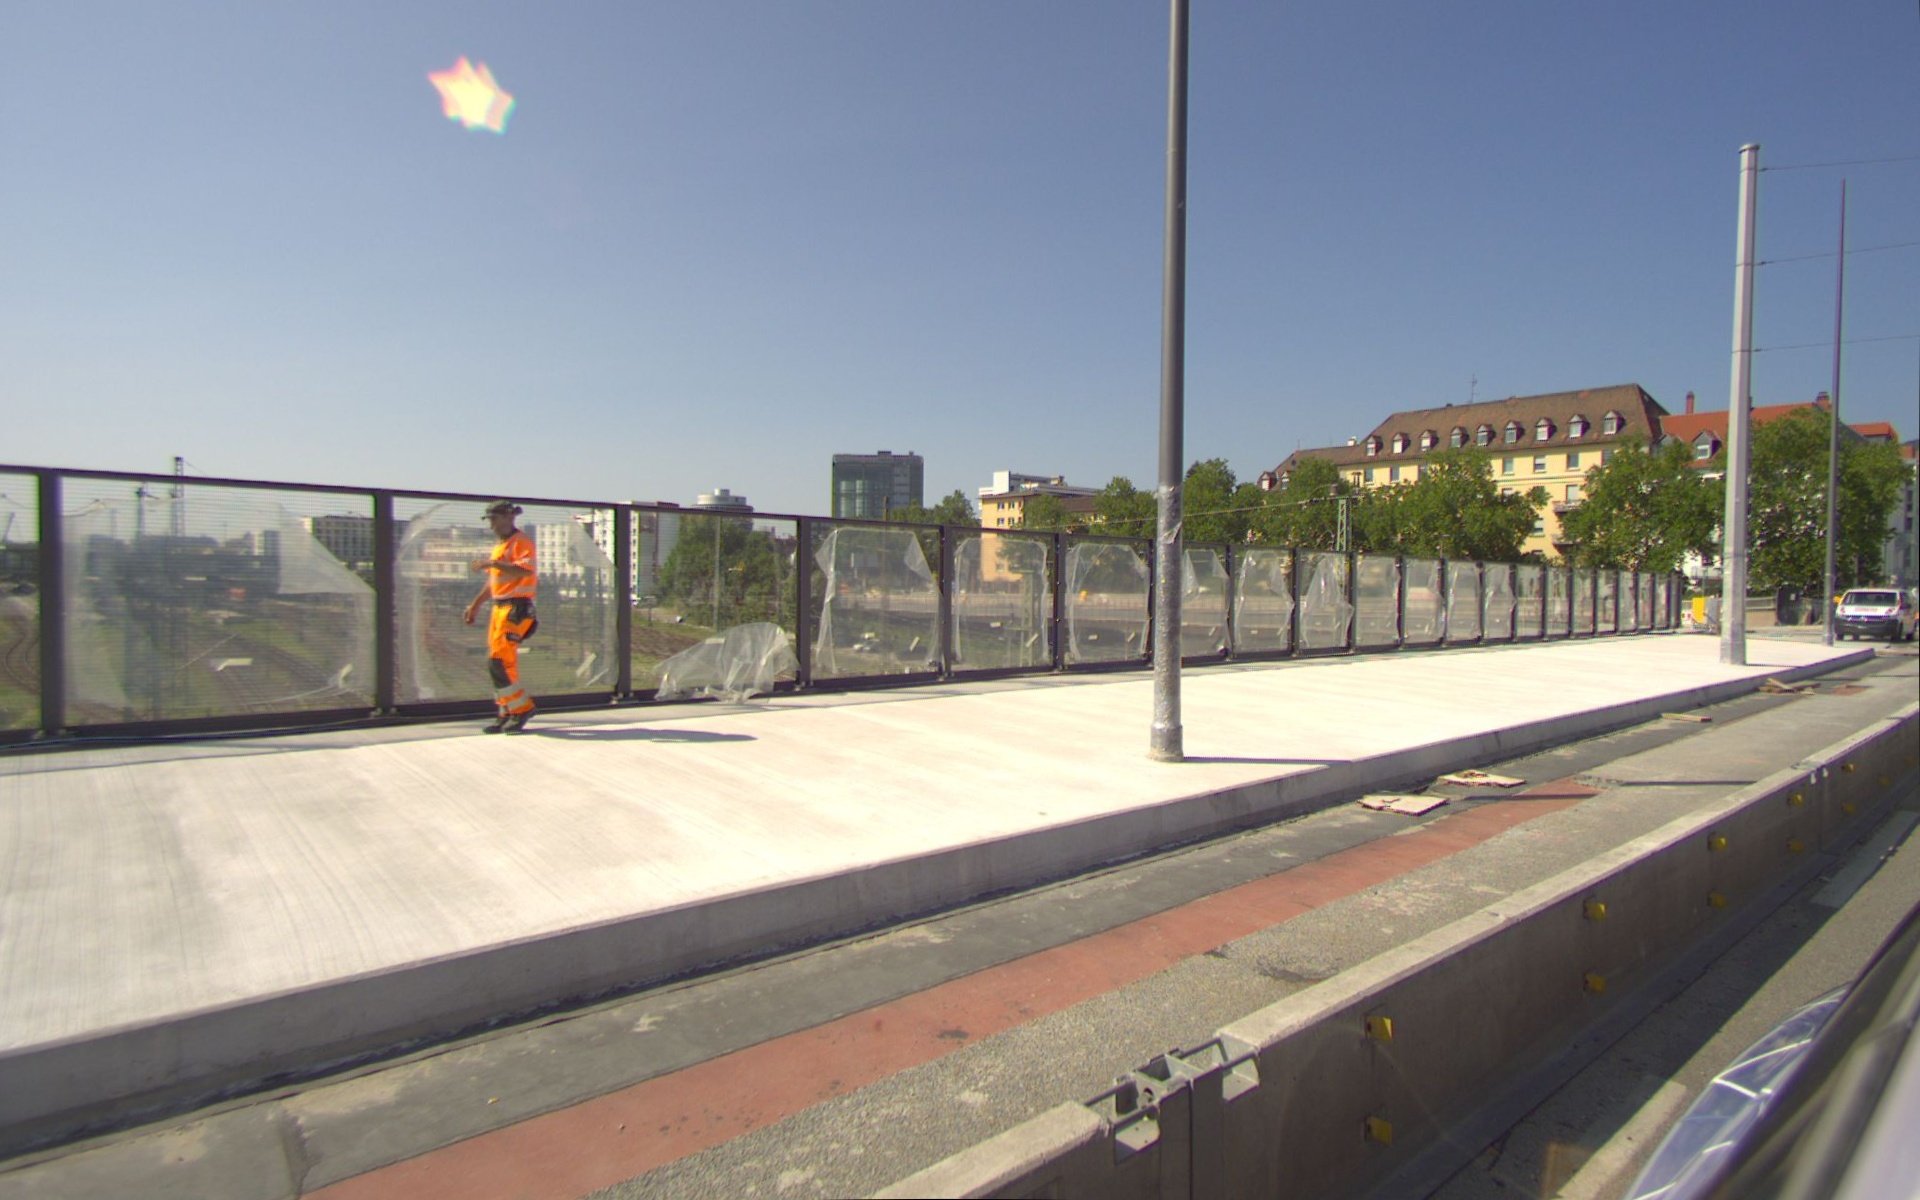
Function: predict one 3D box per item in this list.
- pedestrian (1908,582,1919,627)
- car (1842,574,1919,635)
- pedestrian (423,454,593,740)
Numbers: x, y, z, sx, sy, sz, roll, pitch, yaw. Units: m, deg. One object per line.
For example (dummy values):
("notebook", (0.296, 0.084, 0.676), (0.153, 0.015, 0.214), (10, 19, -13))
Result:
("pedestrian", (43.795, 0.215, 46.083), (0.829, 2.009, 0.761), (-1, 3, -41))
("car", (35.323, 0.163, 38.256), (6.353, 2.116, 1.938), (1, 1, -39))
("pedestrian", (-3.419, -0.042, 7.654), (0.998, 1.988, 0.733), (0, 3, -40))
